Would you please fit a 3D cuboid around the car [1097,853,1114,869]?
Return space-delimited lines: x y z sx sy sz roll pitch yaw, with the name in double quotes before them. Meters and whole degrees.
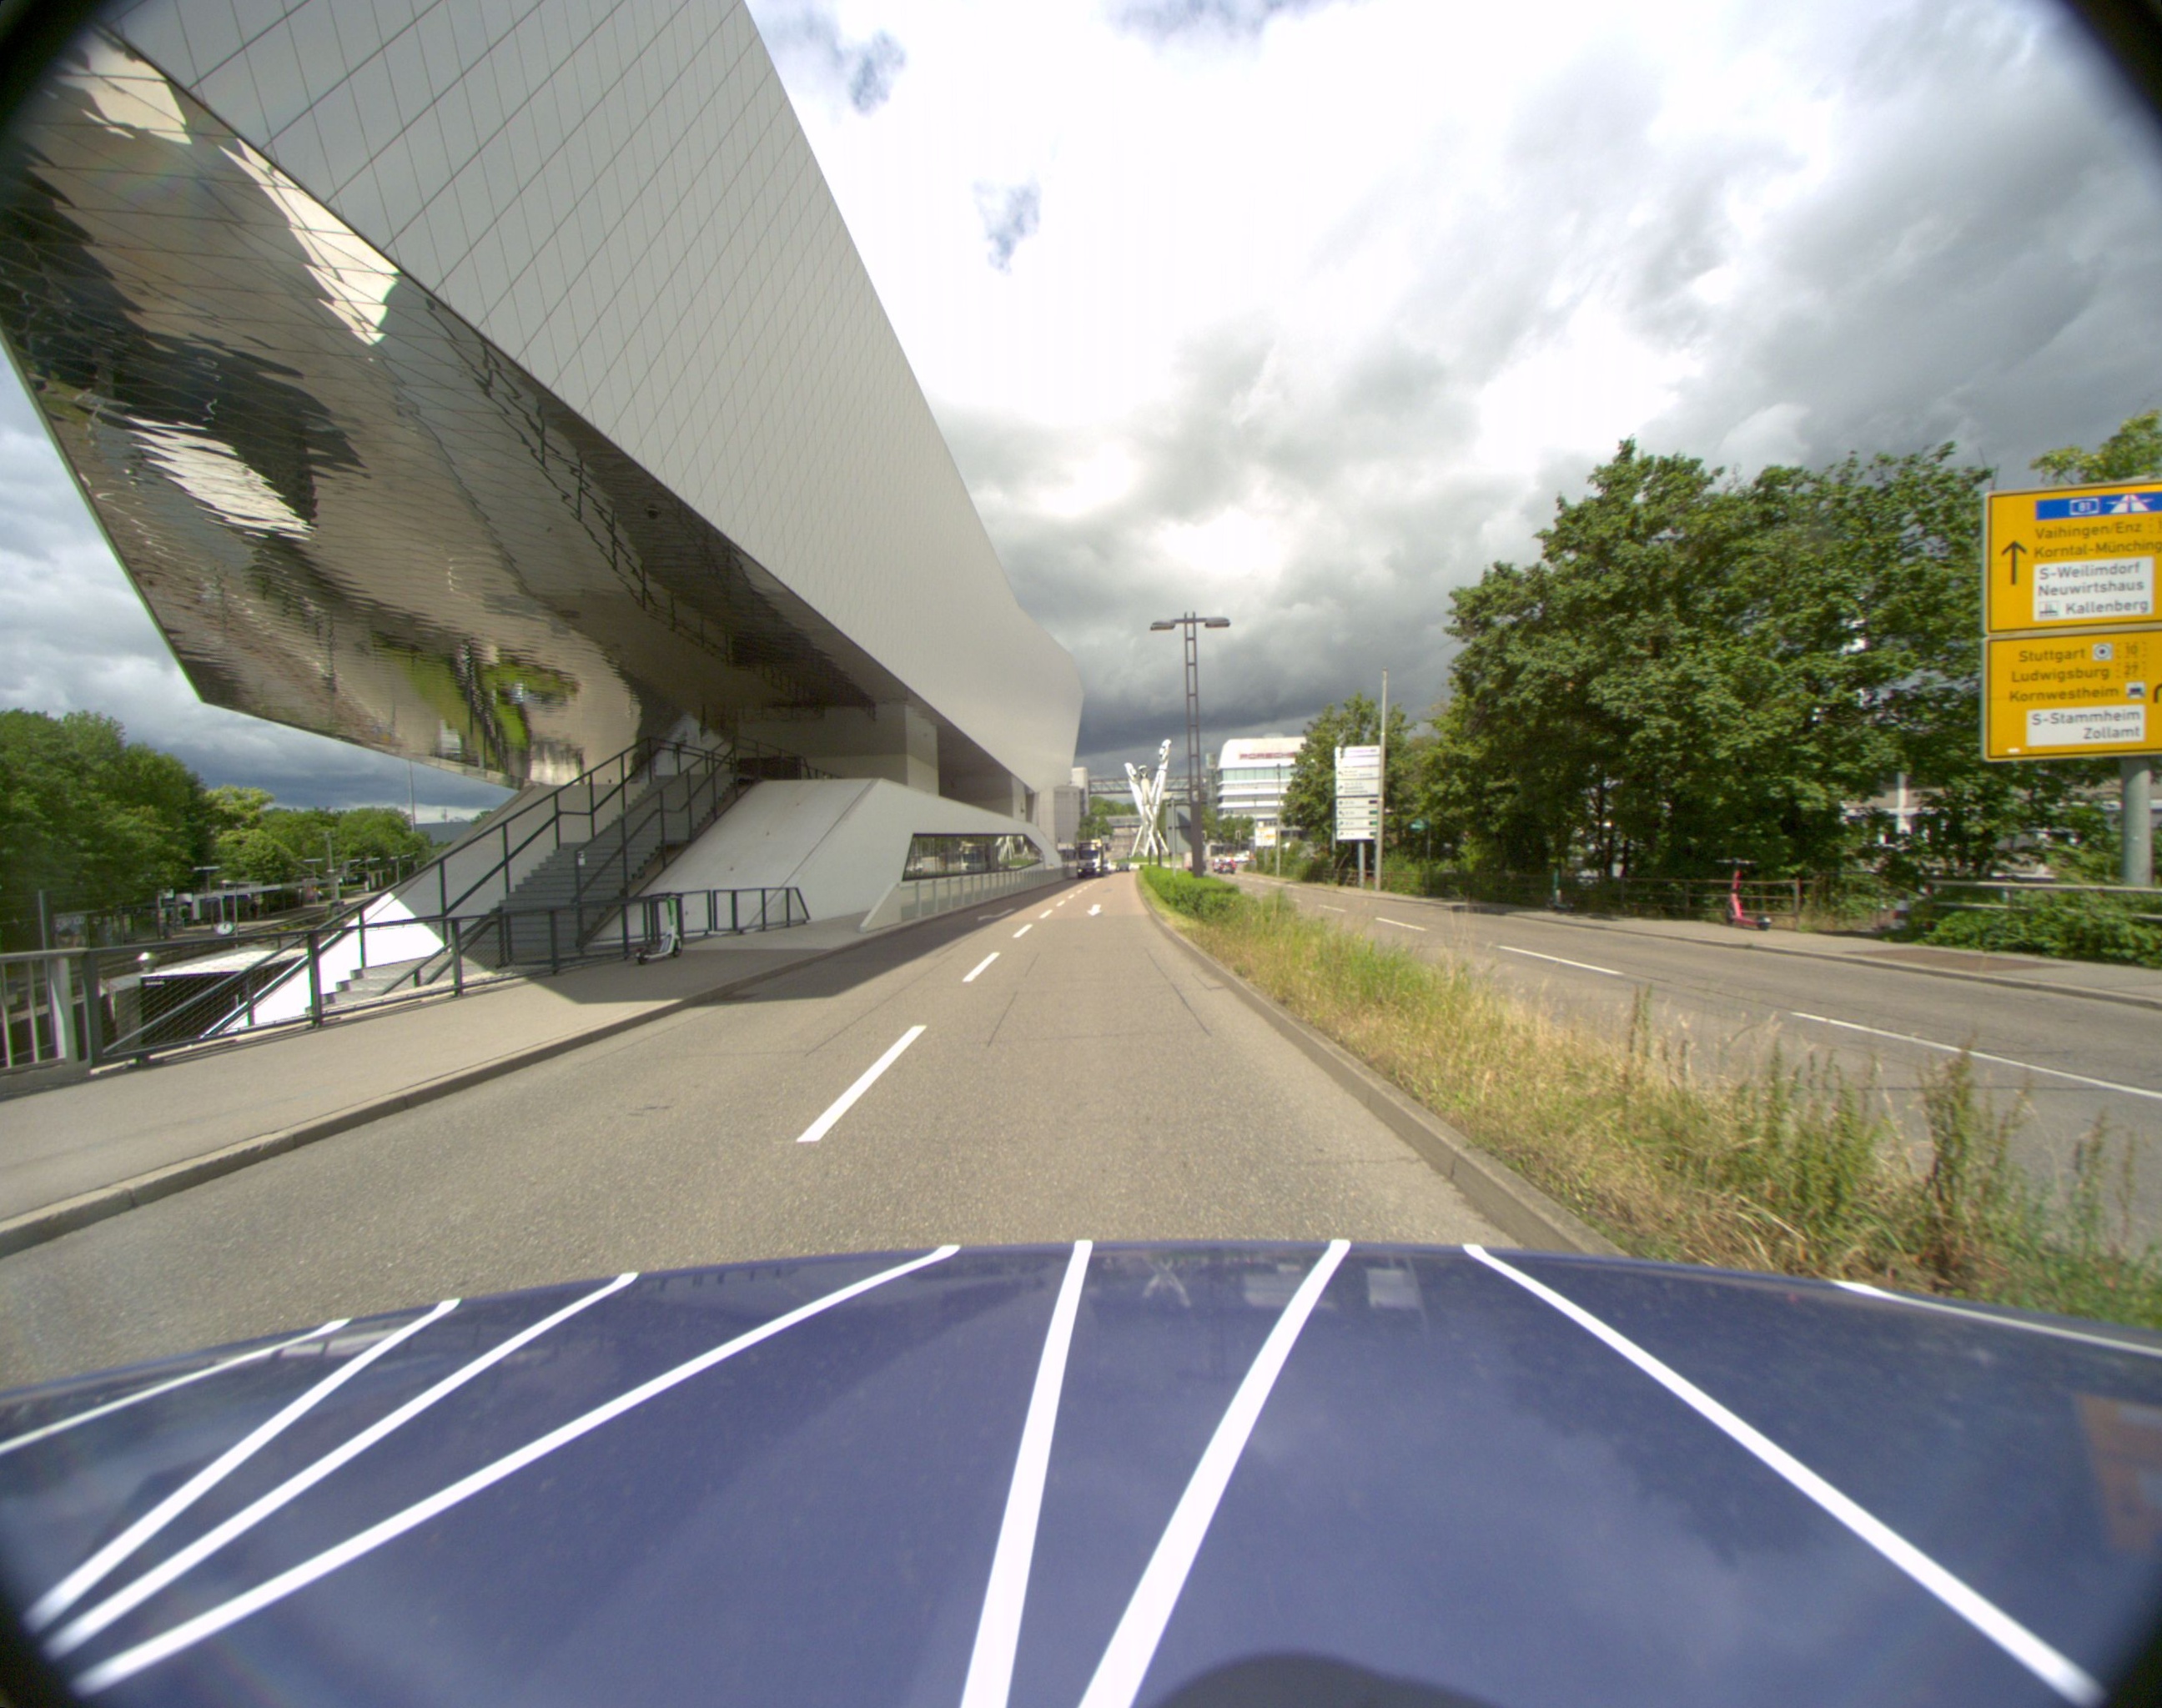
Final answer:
"car" 3.041 0.841 94.072 1.986 1.703 4.760 -2 2 3

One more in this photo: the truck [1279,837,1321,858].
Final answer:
"truck" 42.490 -1.227 147.964 2.364 3.546 8.972 -3 -1 -25

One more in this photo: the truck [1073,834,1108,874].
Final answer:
"truck" 1.119 -0.014 77.533 2.842 3.669 10.756 -2 0 4

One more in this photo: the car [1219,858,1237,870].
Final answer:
"car" 18.076 1.209 93.729 1.843 1.498 4.564 -1 0 7

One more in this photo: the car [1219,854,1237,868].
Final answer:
"car" 22.451 1.031 115.902 1.996 1.946 4.634 -2 0 18

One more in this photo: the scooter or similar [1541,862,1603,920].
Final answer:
"scooter or similar" 11.797 0.857 18.296 0.492 1.297 1.644 -3 0 5

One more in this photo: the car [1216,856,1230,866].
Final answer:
"car" 20.362 0.984 109.004 1.799 1.413 4.496 0 0 13

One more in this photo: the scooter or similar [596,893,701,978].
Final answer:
"scooter or similar" -7.157 1.302 12.683 0.655 1.207 1.857 -1 0 0

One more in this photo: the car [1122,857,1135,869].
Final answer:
"car" 7.019 1.273 112.781 1.818 1.663 4.242 -2 1 1

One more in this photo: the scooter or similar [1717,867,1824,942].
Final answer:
"scooter or similar" 12.039 0.840 13.337 0.492 1.209 1.644 -1 0 5

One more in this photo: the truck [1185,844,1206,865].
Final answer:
"truck" 17.069 0.126 113.709 2.861 2.840 9.386 -2 -2 8
